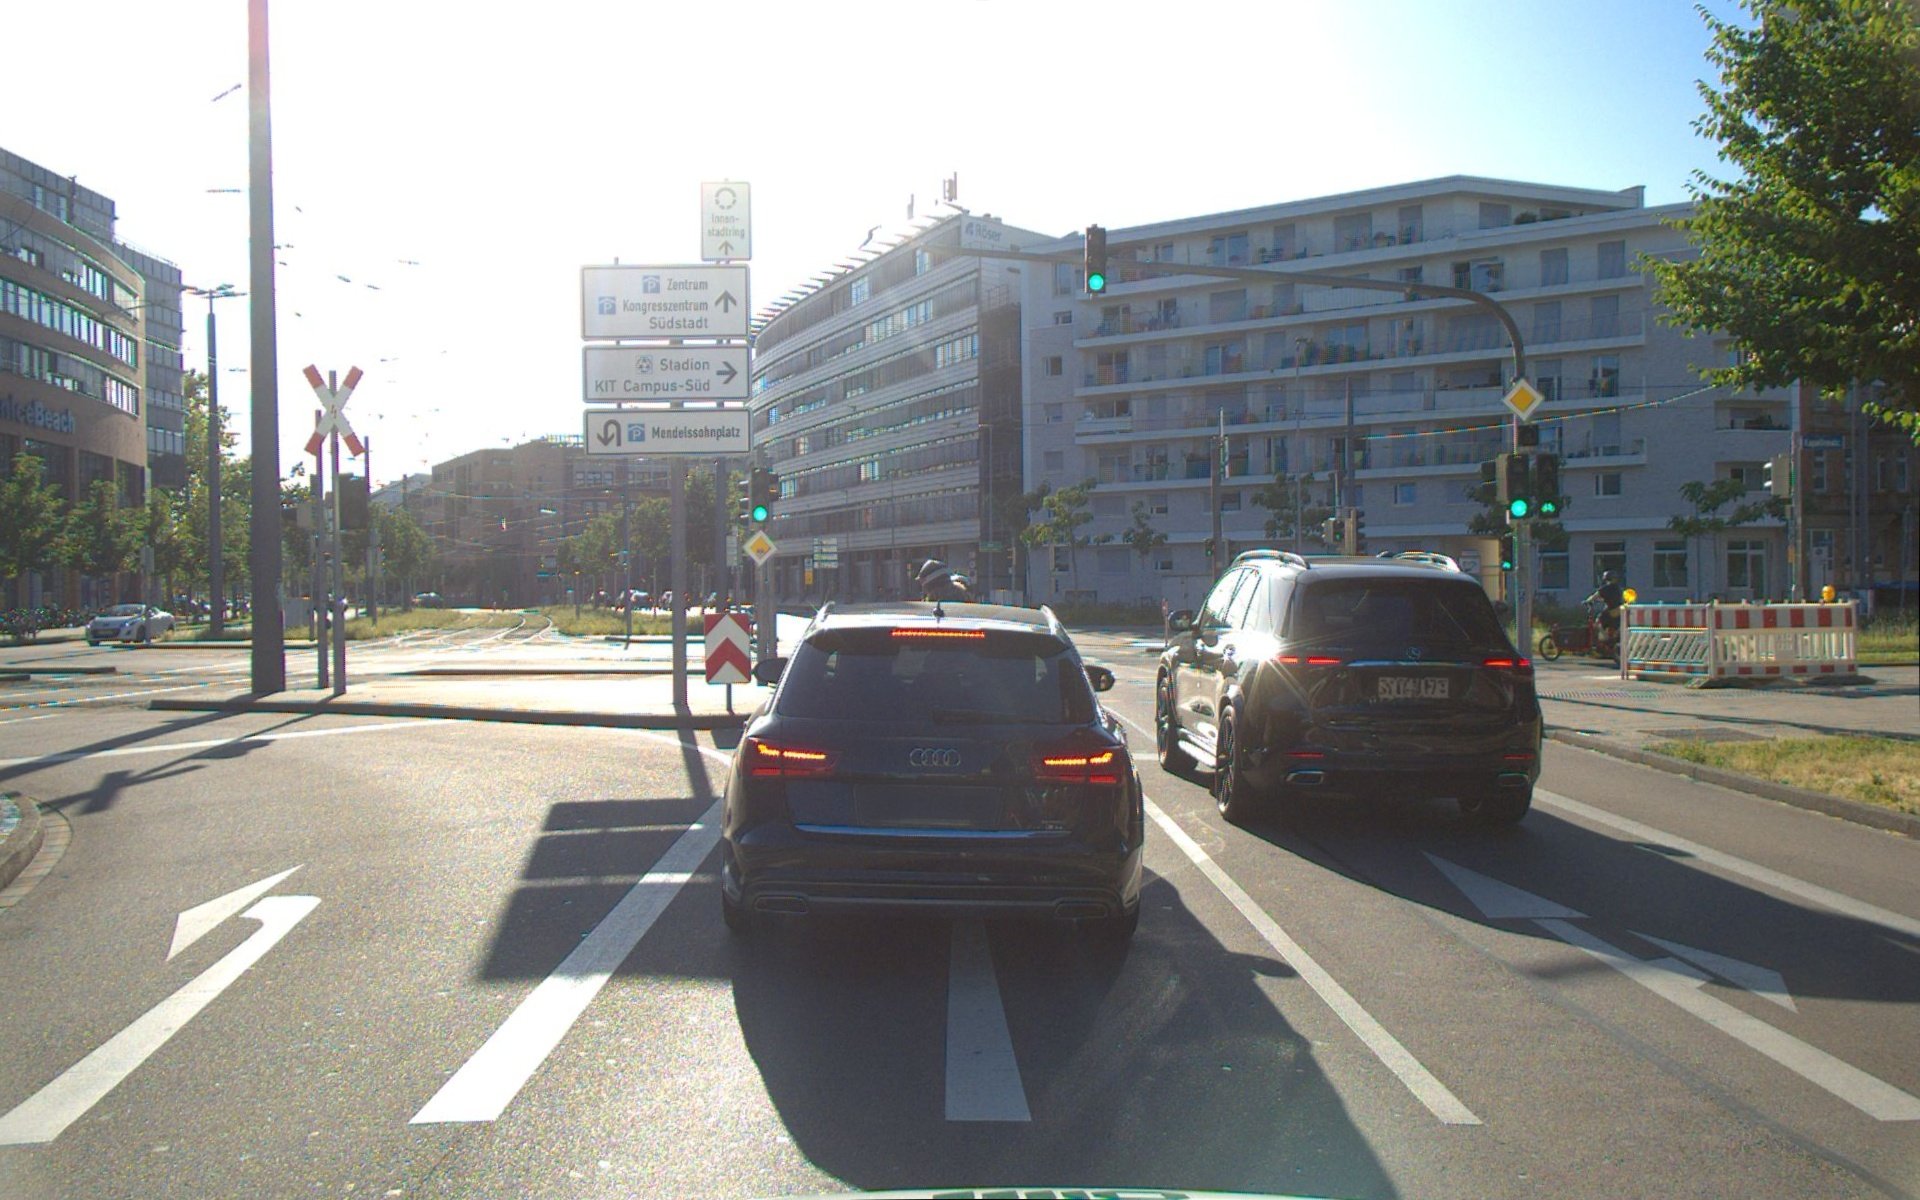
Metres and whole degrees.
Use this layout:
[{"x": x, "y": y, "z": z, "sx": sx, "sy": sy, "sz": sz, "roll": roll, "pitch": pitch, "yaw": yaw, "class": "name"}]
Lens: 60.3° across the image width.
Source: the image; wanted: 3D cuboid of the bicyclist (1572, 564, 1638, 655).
[{"x": 12.651, "y": 0.182, "z": 32.453, "sx": 0.756, "sy": 1.736, "sz": 0.923, "roll": -1, "pitch": 0, "yaw": -24, "class": "bicyclist"}]

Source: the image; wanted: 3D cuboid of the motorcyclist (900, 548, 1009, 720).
[{"x": -0.048, "y": 0.269, "z": 13.397, "sx": 0.845, "sy": 1.349, "sz": 0.681, "roll": -1, "pitch": 0, "yaw": -1, "class": "motorcyclist"}]

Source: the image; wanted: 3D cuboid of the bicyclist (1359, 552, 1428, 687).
[{"x": 5.486, "y": 0.234, "z": 20.952, "sx": 0.640, "sy": 1.671, "sz": 0.972, "roll": -1, "pitch": 1, "yaw": 2, "class": "bicyclist"}]

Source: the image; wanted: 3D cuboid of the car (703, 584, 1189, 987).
[{"x": -0.091, "y": 0.684, "z": 8.223, "sx": 1.805, "sy": 1.479, "sz": 3.999, "roll": 1, "pitch": 1, "yaw": -1, "class": "car"}]

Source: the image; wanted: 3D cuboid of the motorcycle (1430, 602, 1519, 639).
[{"x": 14.795, "y": 0.577, "z": 47.636, "sx": 2.400, "sy": 1.018, "sz": 1.172, "roll": -1, "pitch": 0, "yaw": 15, "class": "motorcycle"}]

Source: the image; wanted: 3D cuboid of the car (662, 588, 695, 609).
[{"x": -23.334, "y": -0.129, "z": 136.940, "sx": 1.964, "sy": 1.624, "sz": 3.976, "roll": -1, "pitch": 0, "yaw": -20, "class": "car"}]

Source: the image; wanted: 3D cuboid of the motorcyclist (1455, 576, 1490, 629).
[{"x": 14.741, "y": 0.066, "z": 47.631, "sx": 0.905, "sy": 1.507, "sz": 1.172, "roll": -1, "pitch": 0, "yaw": 15, "class": "motorcyclist"}]

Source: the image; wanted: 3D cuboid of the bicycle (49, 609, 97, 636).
[{"x": -50.772, "y": 1.307, "z": 94.688, "sx": 2.369, "sy": 1.458, "sz": 0.789, "roll": -2, "pitch": -1, "yaw": 8, "class": "bicycle"}]

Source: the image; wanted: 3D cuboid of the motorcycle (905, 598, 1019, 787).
[{"x": 0.001, "y": 0.697, "z": 13.433, "sx": 0.845, "sy": 1.417, "sz": 1.893, "roll": -1, "pitch": 0, "yaw": -1, "class": "motorcycle"}]

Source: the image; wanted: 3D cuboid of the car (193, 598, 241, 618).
[{"x": -69.689, "y": 0.780, "z": 155.051, "sx": 3.945, "sy": 1.736, "sz": 1.980, "roll": -1, "pitch": 0, "yaw": -30, "class": "car"}]

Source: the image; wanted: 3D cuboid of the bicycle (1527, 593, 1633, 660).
[{"x": 12.375, "y": 0.521, "z": 33.061, "sx": 0.756, "sy": 1.284, "sz": 2.066, "roll": -1, "pitch": 0, "yaw": -24, "class": "bicycle"}]

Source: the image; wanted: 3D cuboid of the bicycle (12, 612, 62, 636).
[{"x": -50.579, "y": 1.299, "z": 90.629, "sx": 2.362, "sy": 1.257, "sz": 0.745, "roll": -2, "pitch": -1, "yaw": 8, "class": "bicycle"}]

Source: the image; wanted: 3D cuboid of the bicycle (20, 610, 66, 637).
[{"x": -50.735, "y": 1.294, "z": 91.476, "sx": 2.197, "sy": 1.458, "sz": 0.719, "roll": -2, "pitch": -1, "yaw": 8, "class": "bicycle"}]

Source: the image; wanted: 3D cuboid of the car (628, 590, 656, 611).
[{"x": -26.764, "y": 0.038, "z": 139.273, "sx": 1.961, "sy": 1.624, "sz": 3.982, "roll": -1, "pitch": 0, "yaw": -16, "class": "car"}]

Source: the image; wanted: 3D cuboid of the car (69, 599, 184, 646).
[{"x": -30.066, "y": 0.771, "z": 59.805, "sx": 1.953, "sy": 1.572, "sz": 4.528, "roll": -1, "pitch": 1, "yaw": -2, "class": "car"}]

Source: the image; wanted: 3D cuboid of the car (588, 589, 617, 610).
[{"x": -31.243, "y": -0.039, "z": 144.448, "sx": 1.963, "sy": 1.736, "sz": 3.978, "roll": -1, "pitch": 0, "yaw": -19, "class": "car"}]

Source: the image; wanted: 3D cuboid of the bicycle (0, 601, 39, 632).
[{"x": -46.359, "y": 0.821, "z": 80.590, "sx": 2.507, "sy": 1.458, "sz": 0.905, "roll": -2, "pitch": -1, "yaw": 8, "class": "bicycle"}]

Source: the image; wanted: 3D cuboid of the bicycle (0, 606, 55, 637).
[{"x": -46.791, "y": 1.086, "z": 82.831, "sx": 2.507, "sy": 1.458, "sz": 0.905, "roll": -2, "pitch": -1, "yaw": 8, "class": "bicycle"}]

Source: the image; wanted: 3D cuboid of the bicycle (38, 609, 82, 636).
[{"x": -50.881, "y": 1.251, "z": 93.512, "sx": 2.092, "sy": 1.458, "sz": 0.759, "roll": -2, "pitch": -1, "yaw": 8, "class": "bicycle"}]

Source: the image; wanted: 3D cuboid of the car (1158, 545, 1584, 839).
[{"x": 2.742, "y": 0.534, "z": 12.167, "sx": 1.962, "sy": 1.745, "sz": 4.371, "roll": 1, "pitch": 1, "yaw": -1, "class": "car"}]

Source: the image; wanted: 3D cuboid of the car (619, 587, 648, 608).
[{"x": -28.685, "y": -0.170, "z": 145.161, "sx": 1.963, "sy": 1.736, "sz": 3.978, "roll": -1, "pitch": 0, "yaw": -19, "class": "car"}]

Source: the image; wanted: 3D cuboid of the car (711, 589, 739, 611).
[{"x": -21.231, "y": -0.013, "z": 149.095, "sx": 1.961, "sy": 1.870, "sz": 3.982, "roll": -1, "pitch": 0, "yaw": -16, "class": "car"}]
